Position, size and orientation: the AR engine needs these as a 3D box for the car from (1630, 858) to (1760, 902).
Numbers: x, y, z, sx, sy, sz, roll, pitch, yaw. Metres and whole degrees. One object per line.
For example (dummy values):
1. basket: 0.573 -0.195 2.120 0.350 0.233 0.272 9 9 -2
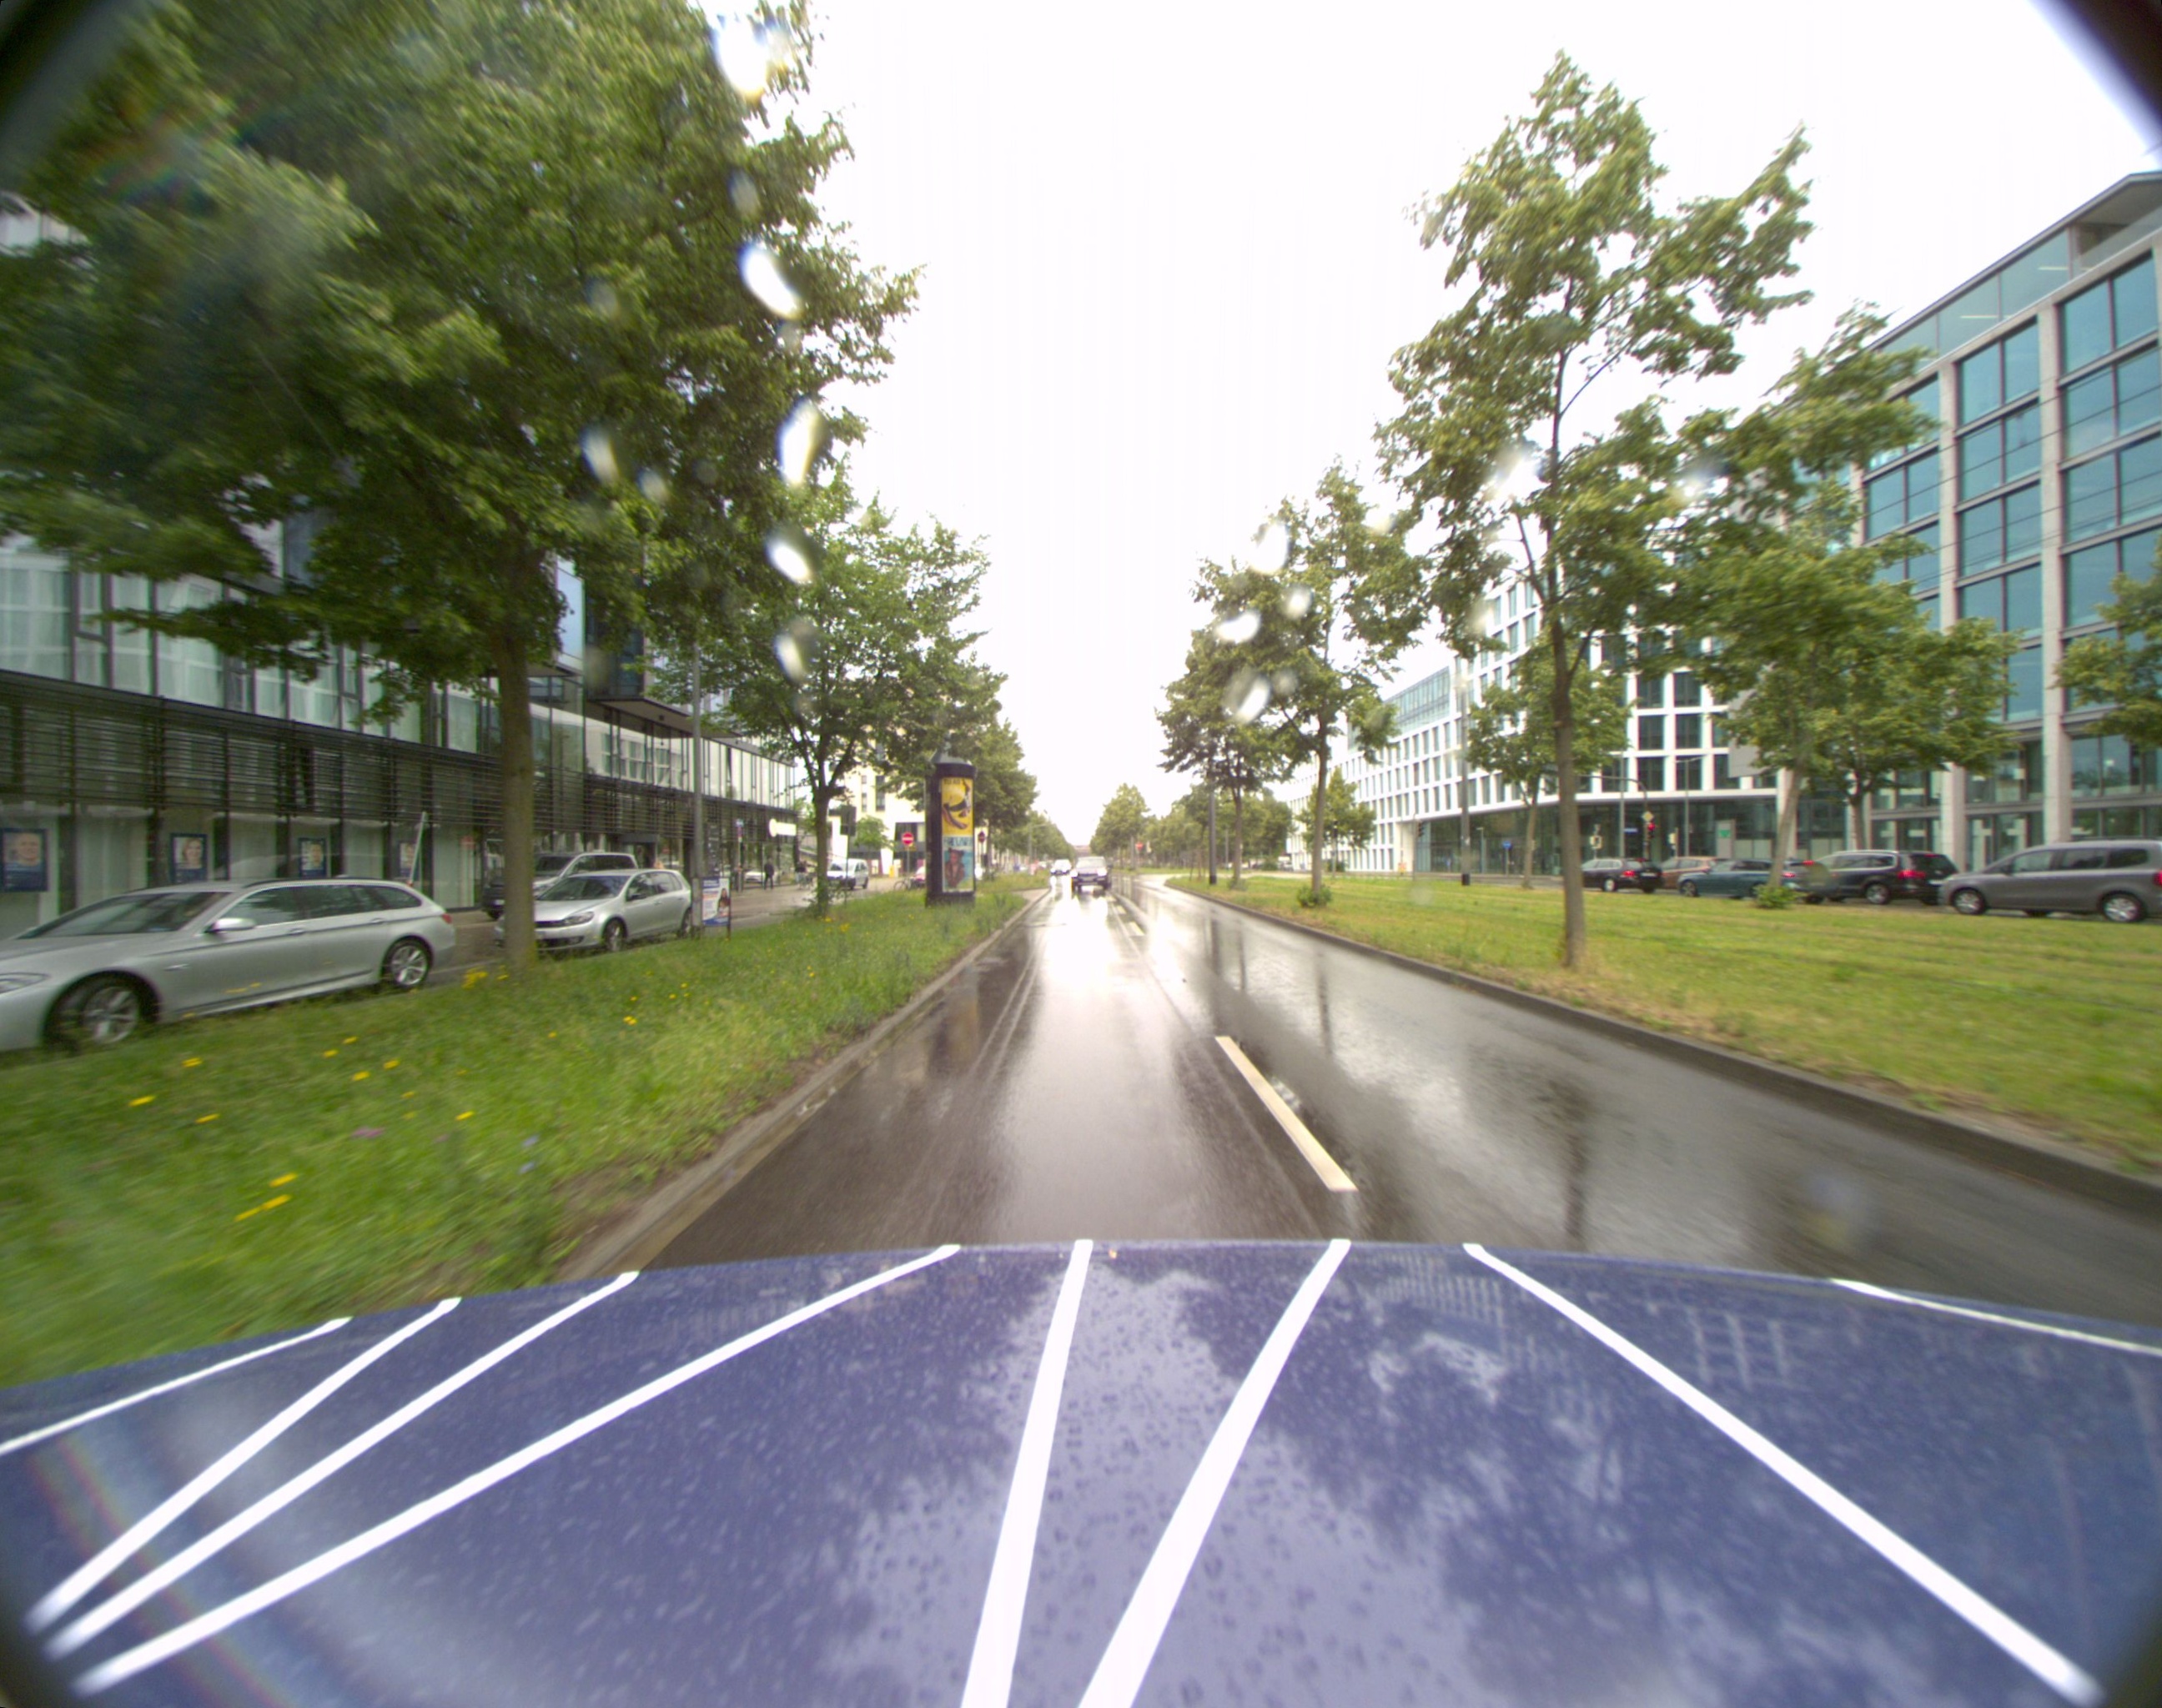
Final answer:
1. car: 25.685 1.029 32.009 1.956 1.684 4.271 0 0 -1

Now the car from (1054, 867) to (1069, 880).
1. car: -2.272 2.277 88.228 1.687 1.520 3.970 -1 -2 -1

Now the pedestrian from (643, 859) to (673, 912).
1. pedestrian: -14.084 1.048 25.312 0.581 1.728 0.803 -1 -2 -2

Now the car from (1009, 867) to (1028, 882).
1. car: -7.527 2.539 91.934 1.999 1.696 4.840 -1 -2 0

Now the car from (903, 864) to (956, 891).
1. car: -8.775 1.324 44.348 1.998 1.446 4.960 -1 -1 1

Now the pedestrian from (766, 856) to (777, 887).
1. pedestrian: -18.056 1.035 44.335 0.508 1.821 0.575 1 -2 -36

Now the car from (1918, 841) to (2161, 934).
1. car: 22.471 0.712 17.222 1.956 1.837 4.544 0 -1 0

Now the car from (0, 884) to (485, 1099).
1. car: -9.146 1.133 7.849 1.999 1.436 5.236 -1 0 -2

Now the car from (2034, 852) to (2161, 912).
1. car: 25.782 0.641 17.609 1.956 1.377 4.273 -1 -2 -2

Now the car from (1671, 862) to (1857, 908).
1. car: 22.060 1.024 24.843 1.956 1.377 4.474 0 -2 -1

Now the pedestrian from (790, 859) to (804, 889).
1. pedestrian: -16.314 1.144 43.671 0.627 1.694 0.657 0 -2 -5

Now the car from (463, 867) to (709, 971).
1. car: -8.701 1.101 13.877 1.765 1.586 4.102 -1 -2 1

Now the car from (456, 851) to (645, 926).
1. car: -15.159 0.916 22.167 1.999 1.909 5.148 -1 0 -2

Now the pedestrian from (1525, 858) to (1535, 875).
1. pedestrian: 41.936 1.179 70.999 0.634 1.634 0.546 0 1 2

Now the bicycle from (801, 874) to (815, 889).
1. bicycle: -15.721 1.590 43.842 0.437 0.892 1.232 0 -2 -4

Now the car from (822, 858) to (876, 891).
1. car: -13.794 1.206 45.439 1.898 1.854 4.723 0 -1 -2

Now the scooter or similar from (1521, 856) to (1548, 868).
1. scooter or similar: 42.337 0.753 70.874 2.161 1.145 0.550 -1 -2 -1

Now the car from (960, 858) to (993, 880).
1. car: -8.469 1.267 61.818 1.999 1.696 4.840 -1 -2 0

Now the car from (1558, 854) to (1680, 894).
1. car: 22.617 0.848 32.189 1.956 1.549 4.465 -1 -2 0

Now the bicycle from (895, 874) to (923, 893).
1. bicycle: -8.292 1.436 36.550 1.458 0.911 0.434 -2 -2 33

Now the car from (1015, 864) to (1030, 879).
1. car: -7.962 2.444 103.550 1.916 2.001 4.000 0 -2 -4

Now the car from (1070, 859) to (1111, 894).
1. car: 0.525 1.079 38.407 1.928 1.650 4.716 0 0 1

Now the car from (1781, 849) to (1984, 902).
1. car: 25.643 0.733 24.575 1.956 1.530 4.273 -1 -2 -2

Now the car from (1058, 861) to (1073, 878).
1. car: -1.950 1.965 95.417 1.757 1.913 4.002 -1 -2 1
